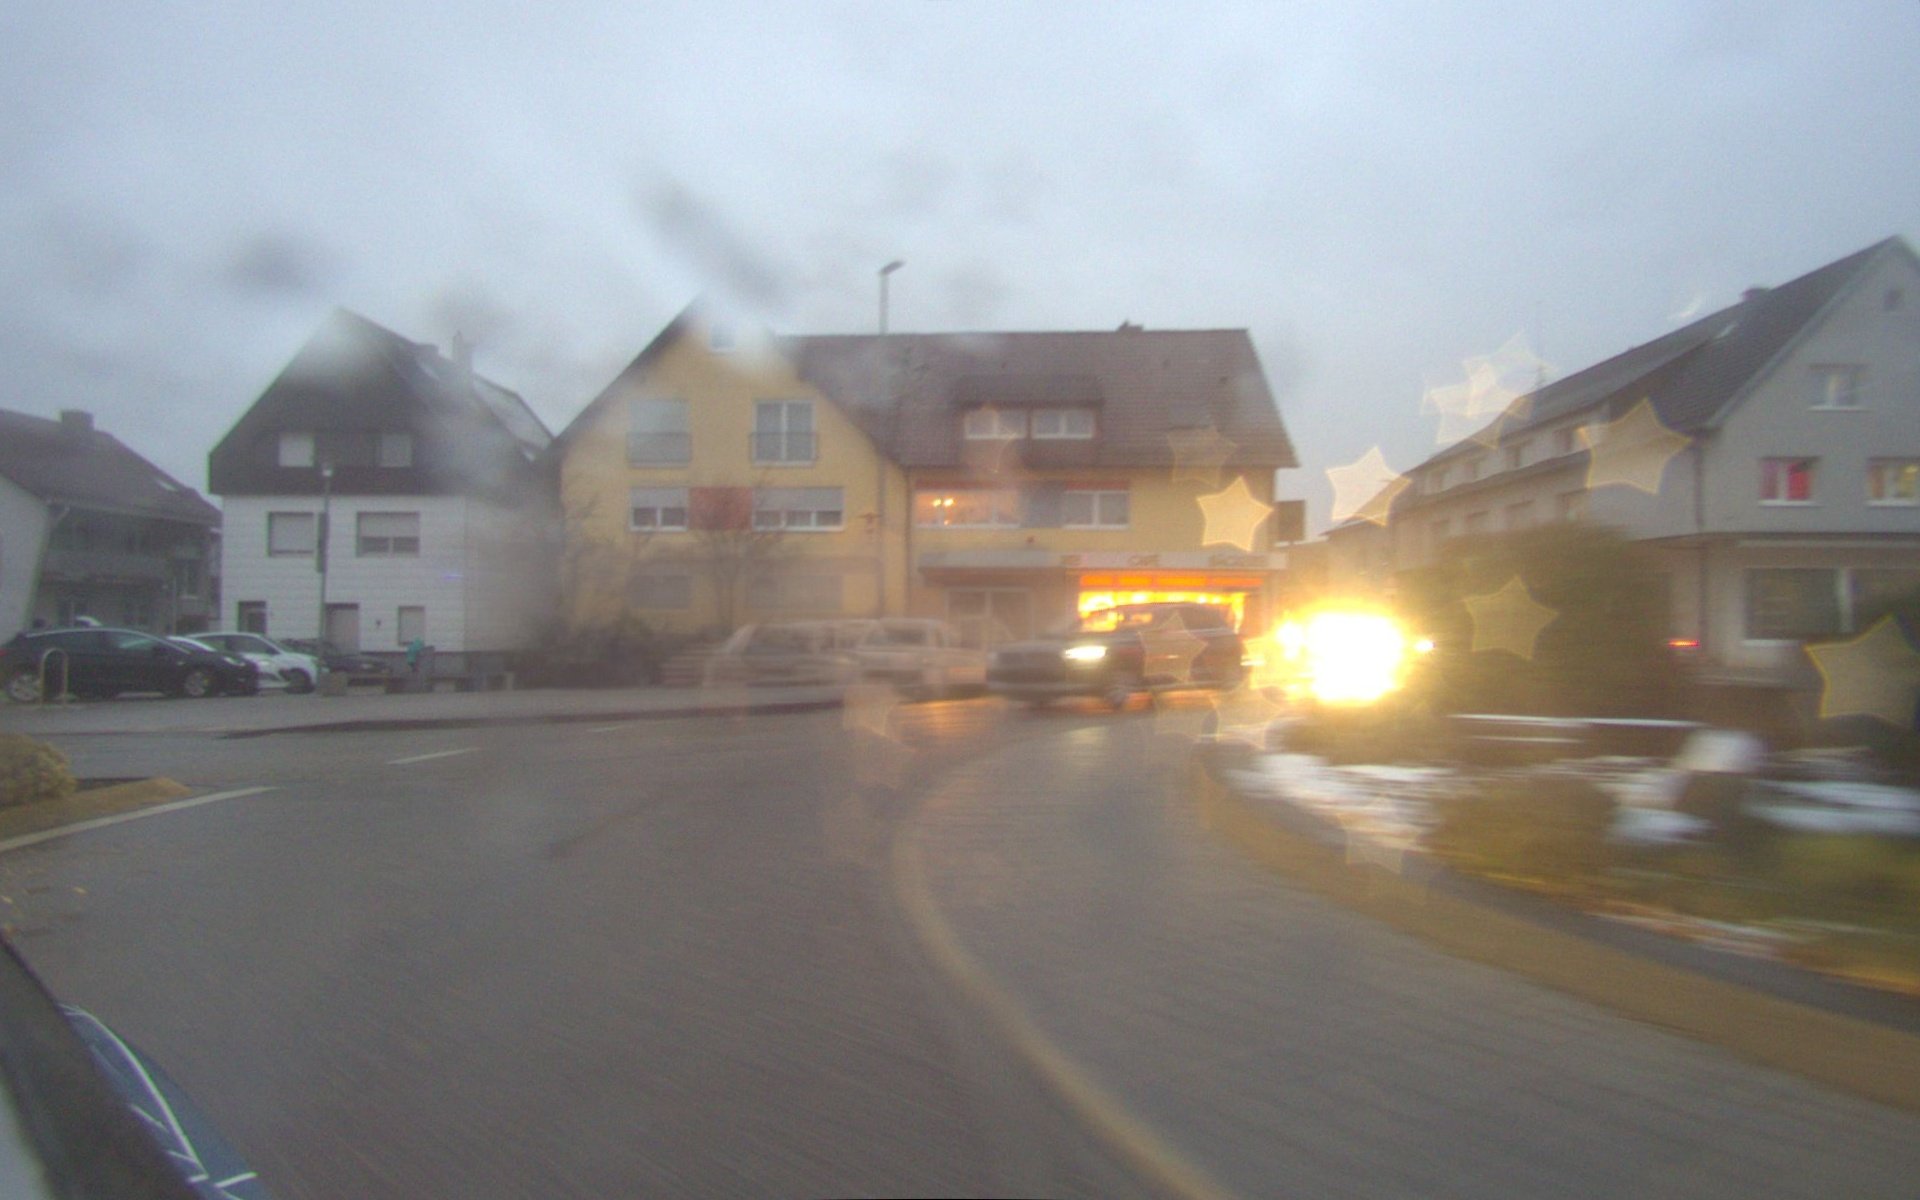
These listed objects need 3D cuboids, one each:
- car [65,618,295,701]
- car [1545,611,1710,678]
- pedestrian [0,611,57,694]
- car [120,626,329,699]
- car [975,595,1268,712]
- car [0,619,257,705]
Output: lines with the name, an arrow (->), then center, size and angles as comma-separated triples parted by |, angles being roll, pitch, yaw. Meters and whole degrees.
car -> -17.177, 1.300, 22.556 | 3.830, 1.683, 1.846 | 0, -4, -30
car -> 17.695, 1.142, 27.085 | 1.626, 1.649, 3.905 | 0, -1, -3
pedestrian -> -19.948, 1.116, 21.549 | 0.827, 1.725, 0.726 | -1, -3, -16
car -> -18.080, 1.536, 25.121 | 3.931, 1.644, 1.770 | 0, -4, -26
car -> 2.649, 0.802, 16.100 | 4.557, 1.605, 1.958 | 1, -3, -37
car -> -16.458, 1.160, 20.052 | 4.110, 1.543, 1.919 | 1, -1, -34
